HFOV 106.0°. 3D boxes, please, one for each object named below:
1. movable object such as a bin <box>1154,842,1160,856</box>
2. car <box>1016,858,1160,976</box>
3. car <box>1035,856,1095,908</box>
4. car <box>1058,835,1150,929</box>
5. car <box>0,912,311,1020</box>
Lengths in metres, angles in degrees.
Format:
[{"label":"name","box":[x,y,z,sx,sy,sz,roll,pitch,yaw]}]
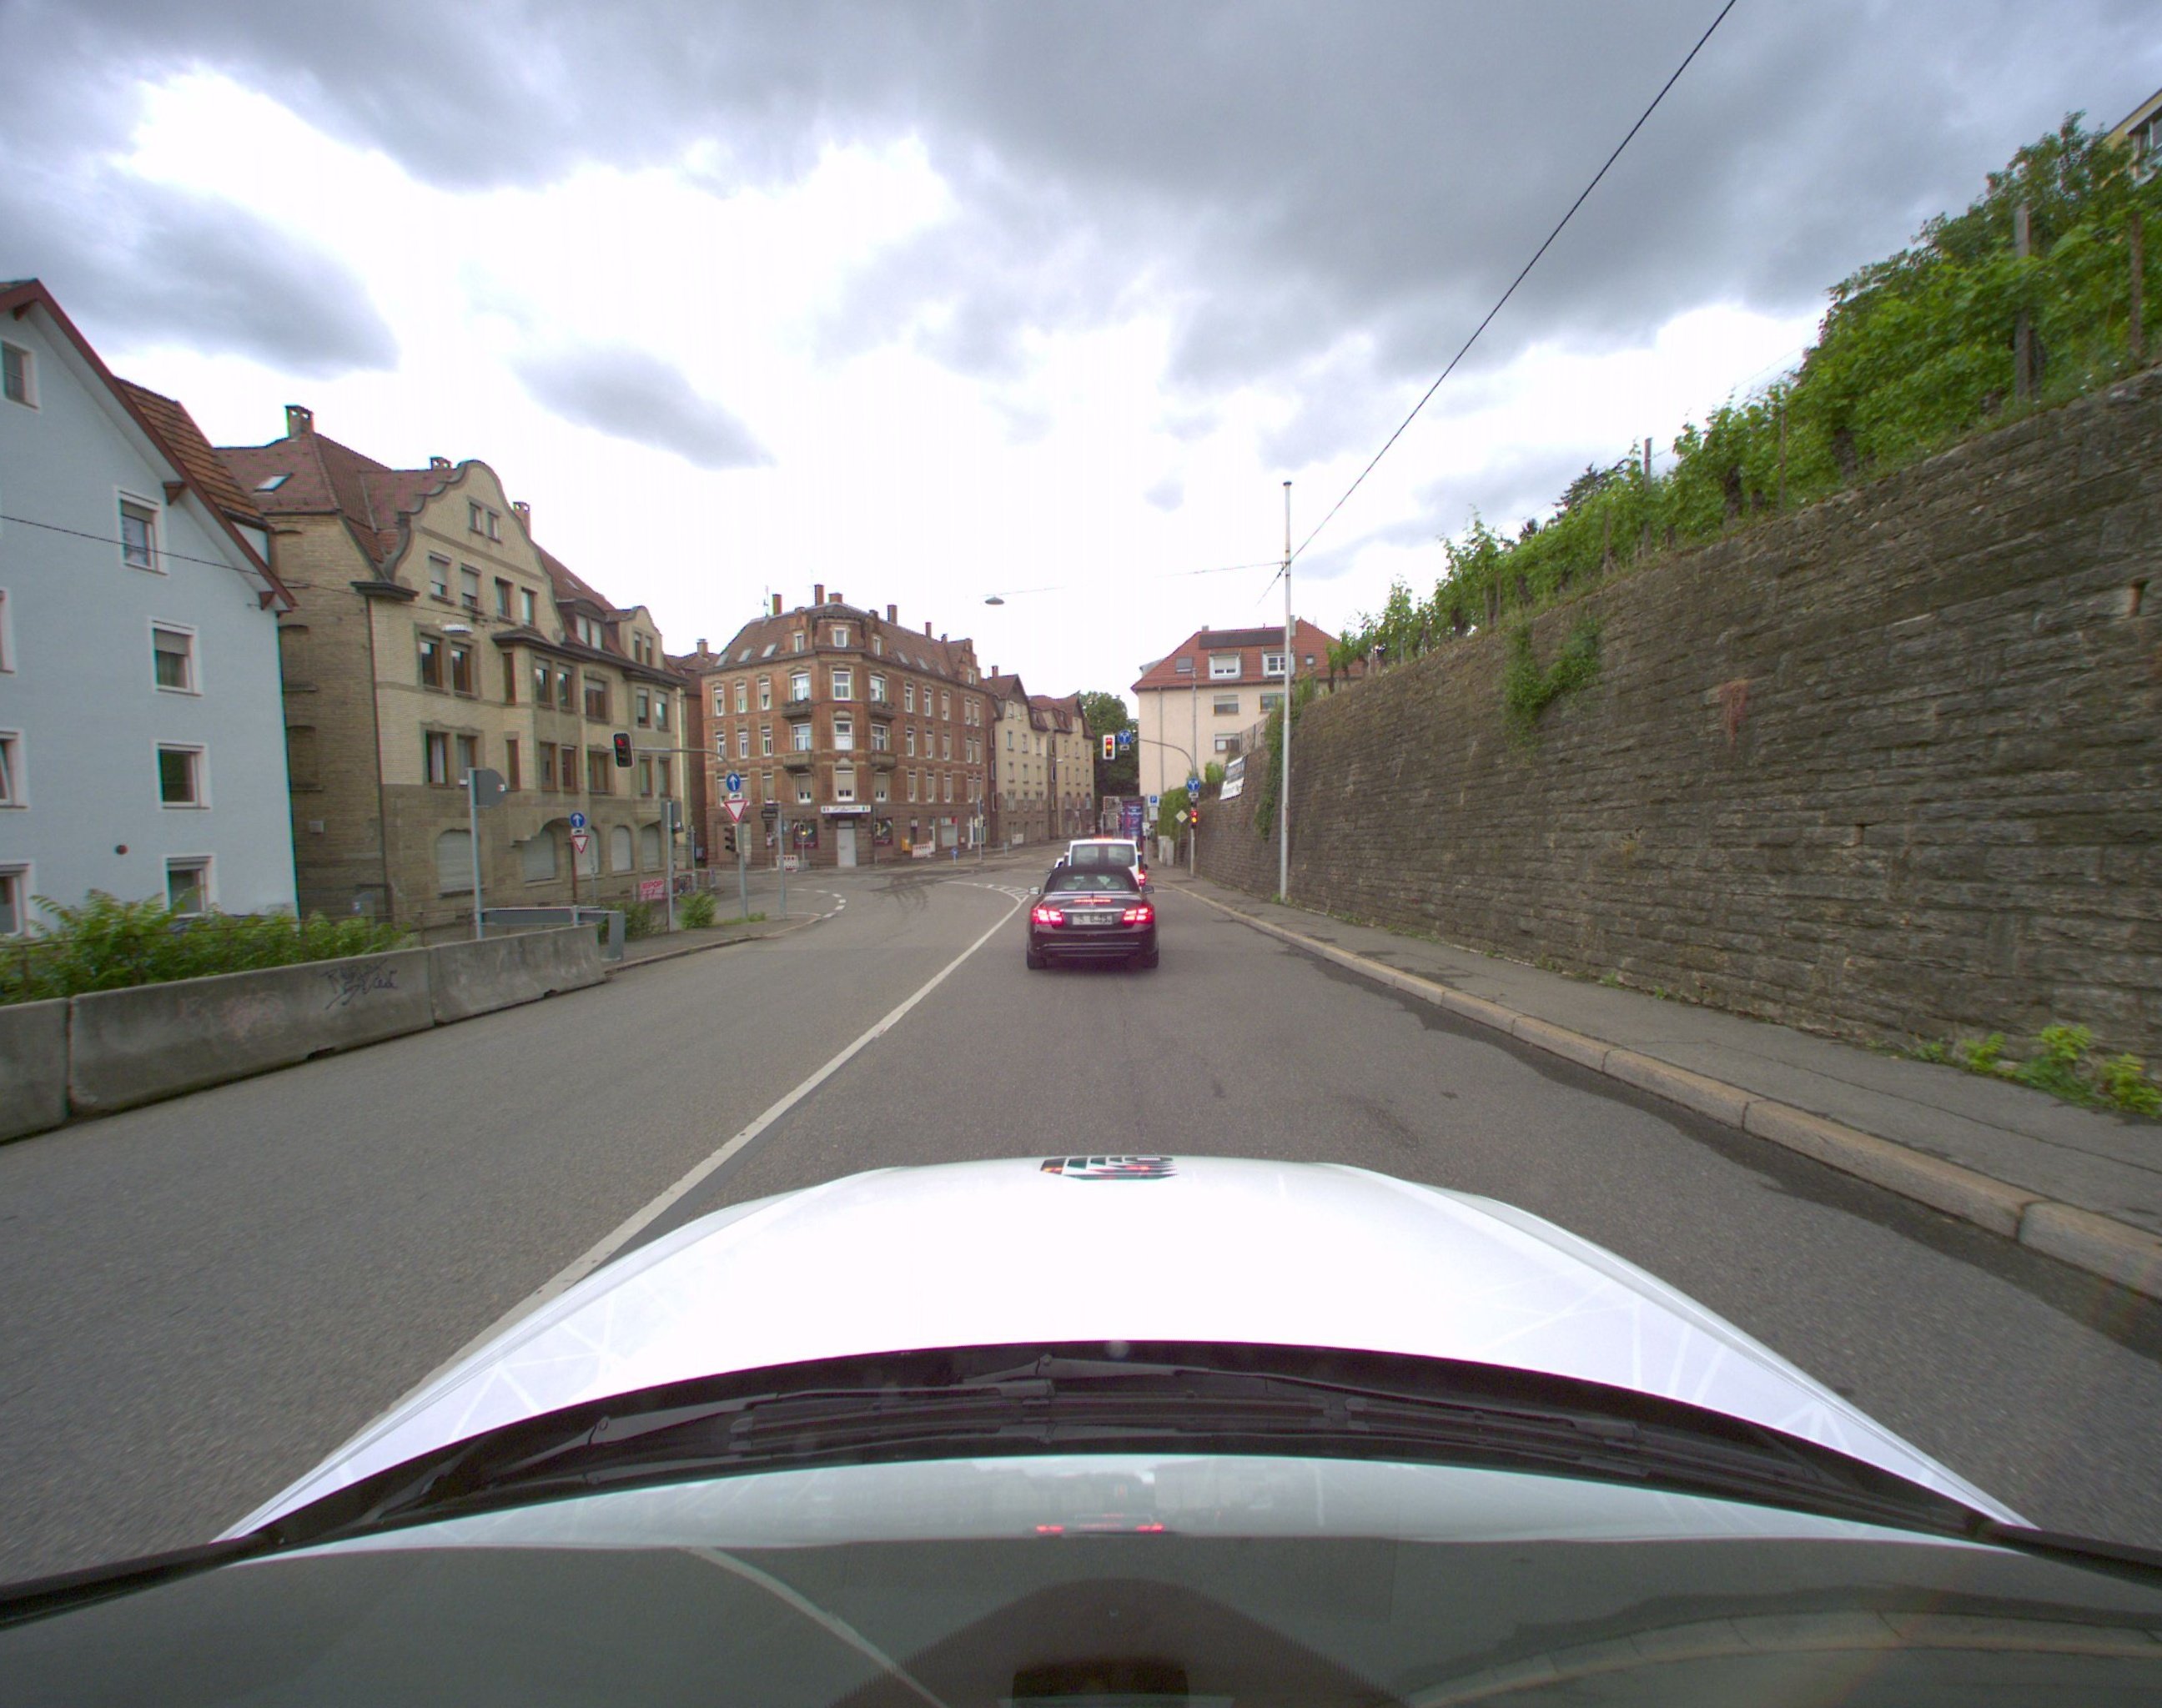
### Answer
[{"label":"movable object such as a bin","box":[5.163,-0.344,55.181,0.343,0.911,0.494,-1,0,-4]},{"label":"car","box":[0.151,0.794,12.336,1.755,1.409,4.400,-1,0,2]},{"label":"car","box":[-0.443,0.811,25.631,1.674,1.466,3.920,-1,0,2]},{"label":"car","box":[0.561,0.575,19.435,1.884,1.929,4.647,-1,0,2]},{"label":"car","box":[-19.120,2.213,17.123,1.676,1.555,4.235,-4,0,1]}]
